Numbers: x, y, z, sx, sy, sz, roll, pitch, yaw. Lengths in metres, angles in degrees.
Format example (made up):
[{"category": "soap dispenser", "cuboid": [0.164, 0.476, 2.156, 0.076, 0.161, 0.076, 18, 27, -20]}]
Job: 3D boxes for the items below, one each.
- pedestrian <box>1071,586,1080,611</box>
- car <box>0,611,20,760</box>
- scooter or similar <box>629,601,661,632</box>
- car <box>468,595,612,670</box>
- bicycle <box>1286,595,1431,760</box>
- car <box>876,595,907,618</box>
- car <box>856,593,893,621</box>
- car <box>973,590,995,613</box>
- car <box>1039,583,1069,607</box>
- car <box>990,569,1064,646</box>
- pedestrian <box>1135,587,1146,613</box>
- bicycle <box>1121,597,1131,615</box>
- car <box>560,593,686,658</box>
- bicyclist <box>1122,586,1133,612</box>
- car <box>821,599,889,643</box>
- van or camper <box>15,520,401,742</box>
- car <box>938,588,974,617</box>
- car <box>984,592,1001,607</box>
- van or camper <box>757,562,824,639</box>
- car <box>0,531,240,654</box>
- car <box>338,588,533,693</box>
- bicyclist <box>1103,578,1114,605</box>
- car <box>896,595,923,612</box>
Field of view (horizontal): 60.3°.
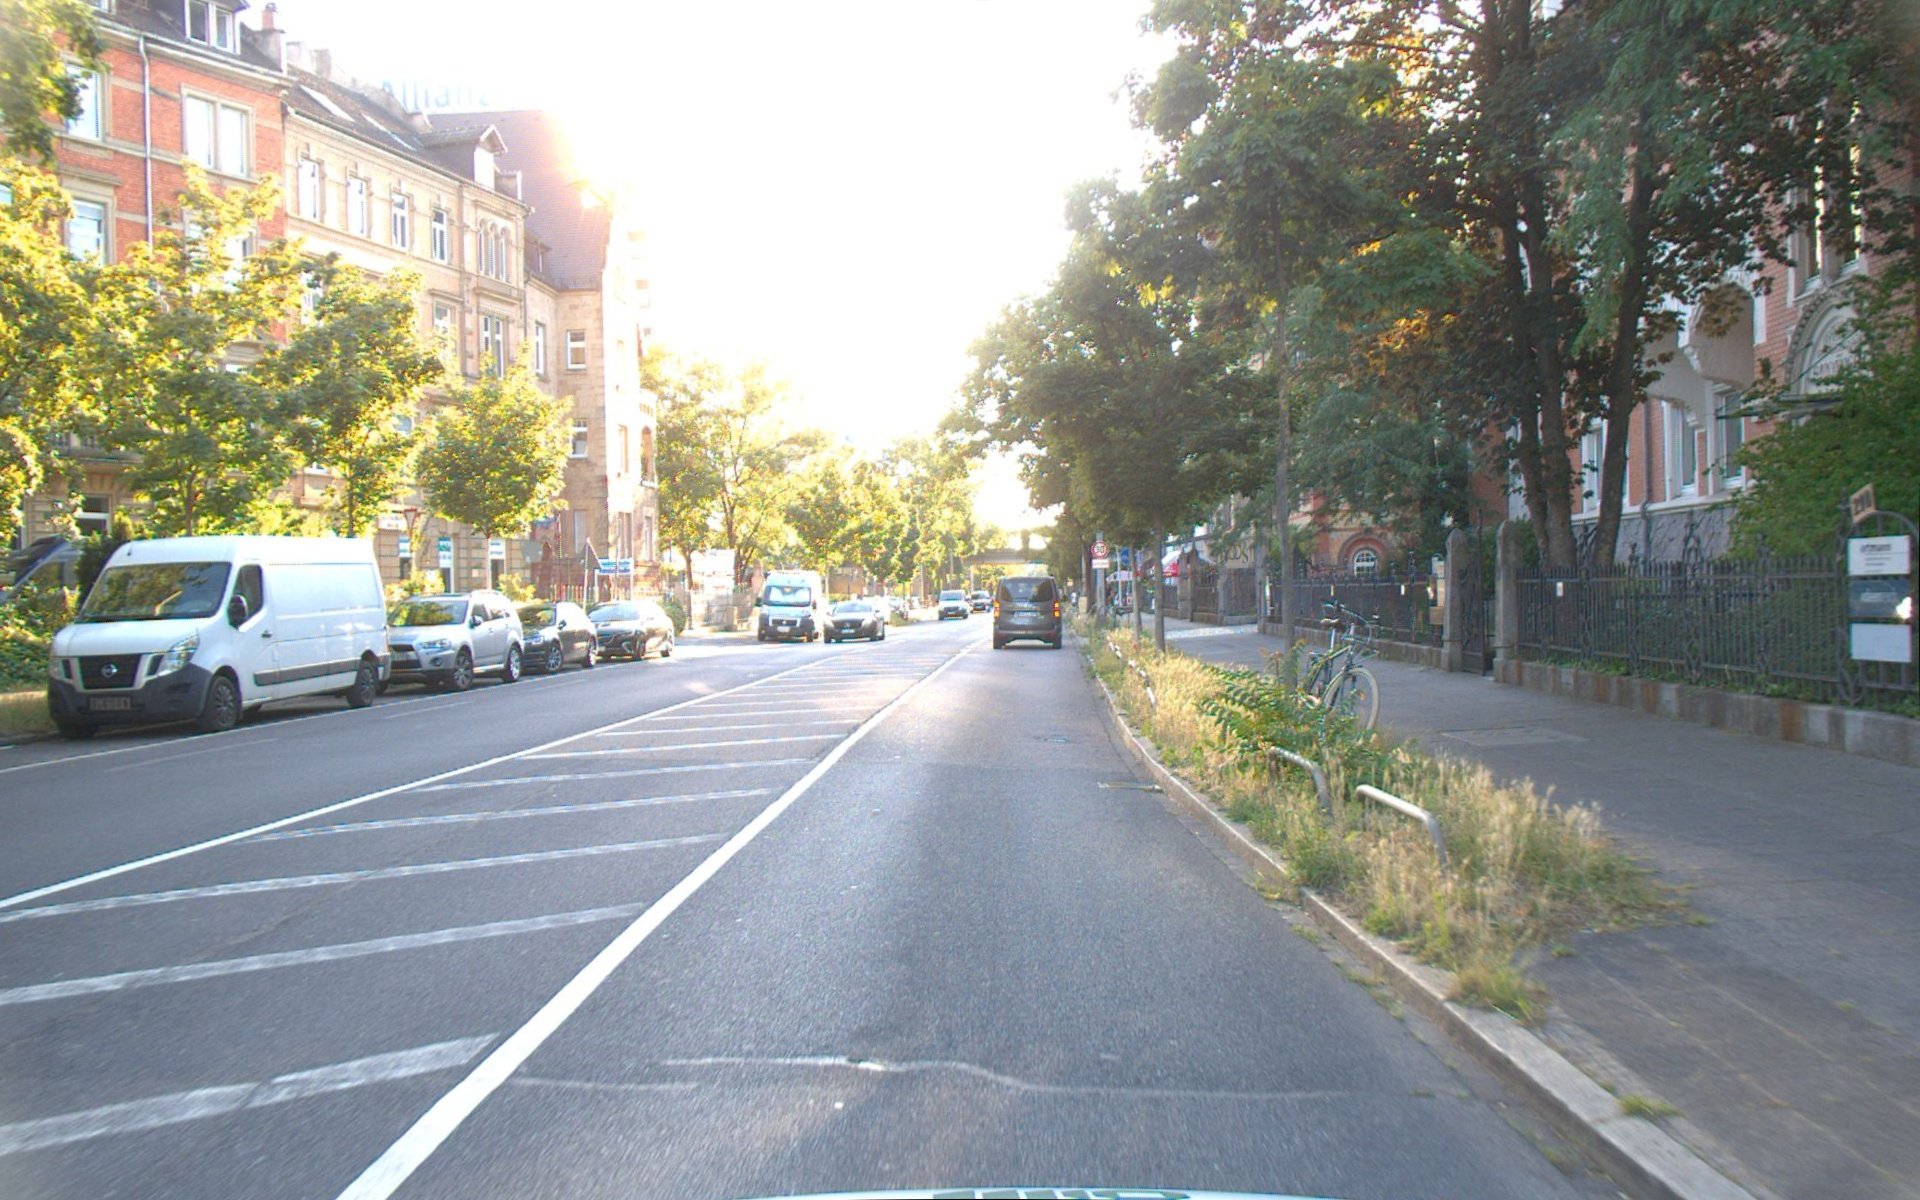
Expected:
[{"category": "pedestrian", "cuboid": [8.811, -0.119, 125.892, 0.495, 1.922, 0.544, 1, 0, -12]}, {"category": "car", "cuboid": [-10.250, 0.877, 14.357, 1.594, 1.454, 4.244, -2, 0, 2]}, {"category": "scooter or similar", "cuboid": [-11.264, 0.595, 59.128, 1.109, 1.075, 0.283, -2, 0, -45]}, {"category": "car", "cuboid": [-8.917, 0.646, 35.501, 1.700, 1.471, 4.627, -1, 0, 3]}, {"category": "bicycle", "cuboid": [3.103, 0.567, 13.051, 0.633, 1.187, 1.930, 1, 0, -1]}, {"category": "car", "cuboid": [-4.307, 0.393, 104.032, 1.604, 1.410, 4.001, 1, 0, 2]}, {"category": "car", "cuboid": [-4.710, 0.363, 91.583, 1.661, 1.477, 4.001, 1, 0, 2]}, {"category": "car", "cuboid": [2.115, 0.101, 144.771, 1.795, 1.885, 4.475, -2, 0, 2]}, {"category": "car", "cuboid": [6.539, -0.368, 115.028, 1.952, 1.662, 4.001, -1, 0, 2]}, {"category": "car", "cuboid": [1.868, 0.173, 45.116, 1.848, 1.958, 3.841, -1, 0, 4]}, {"category": "pedestrian", "cuboid": [11.447, -0.006, 104.649, 0.631, 1.661, 0.656, 1, 0, 3]}, {"category": "bicycle", "cuboid": [9.948, 0.370, 98.992, 0.506, 1.058, 2.090, 1, 0, 3]}, {"category": "car", "cuboid": [-8.404, 0.593, 41.660, 1.952, 1.509, 4.831, -1, 0, 3]}, {"category": "bicyclist", "cuboid": [10.035, -0.063, 99.077, 0.583, 1.559, 0.894, 1, 0, 3]}, {"category": "car", "cuboid": [-3.607, 0.700, 57.398, 1.729, 1.426, 4.547, -1, 0, 4]}, {"category": "van or camper", "cuboid": [-9.798, 0.335, 22.346, 2.047, 2.511, 6.307, -2, 0, 2]}, {"category": "car", "cuboid": [-0.244, 0.142, 110.557, 1.952, 1.863, 5.172, -2, 0, 4]}, {"category": "car", "cuboid": [3.672, -0.049, 185.573, 1.644, 1.556, 4.002, -3, 0, 3]}, {"category": "van or camper", "cuboid": [-6.329, 0.009, 62.237, 1.953, 2.715, 6.037, 1, 0, -1]}, {"category": "car", "cuboid": [-20.776, -0.207, 40.862, 2.079, 2.787, 5.303, -2, 0, 28]}, {"category": "car", "cuboid": [-9.252, 0.656, 29.603, 1.827, 1.673, 4.573, -2, 0, 2]}, {"category": "bicyclist", "cuboid": [8.854, -0.509, 98.809, 0.583, 1.559, 0.894, 1, 0, 2]}, {"category": "car", "cuboid": [-4.359, 0.314, 143.094, 1.952, 1.439, 4.239, 1, 0, 3]}]
